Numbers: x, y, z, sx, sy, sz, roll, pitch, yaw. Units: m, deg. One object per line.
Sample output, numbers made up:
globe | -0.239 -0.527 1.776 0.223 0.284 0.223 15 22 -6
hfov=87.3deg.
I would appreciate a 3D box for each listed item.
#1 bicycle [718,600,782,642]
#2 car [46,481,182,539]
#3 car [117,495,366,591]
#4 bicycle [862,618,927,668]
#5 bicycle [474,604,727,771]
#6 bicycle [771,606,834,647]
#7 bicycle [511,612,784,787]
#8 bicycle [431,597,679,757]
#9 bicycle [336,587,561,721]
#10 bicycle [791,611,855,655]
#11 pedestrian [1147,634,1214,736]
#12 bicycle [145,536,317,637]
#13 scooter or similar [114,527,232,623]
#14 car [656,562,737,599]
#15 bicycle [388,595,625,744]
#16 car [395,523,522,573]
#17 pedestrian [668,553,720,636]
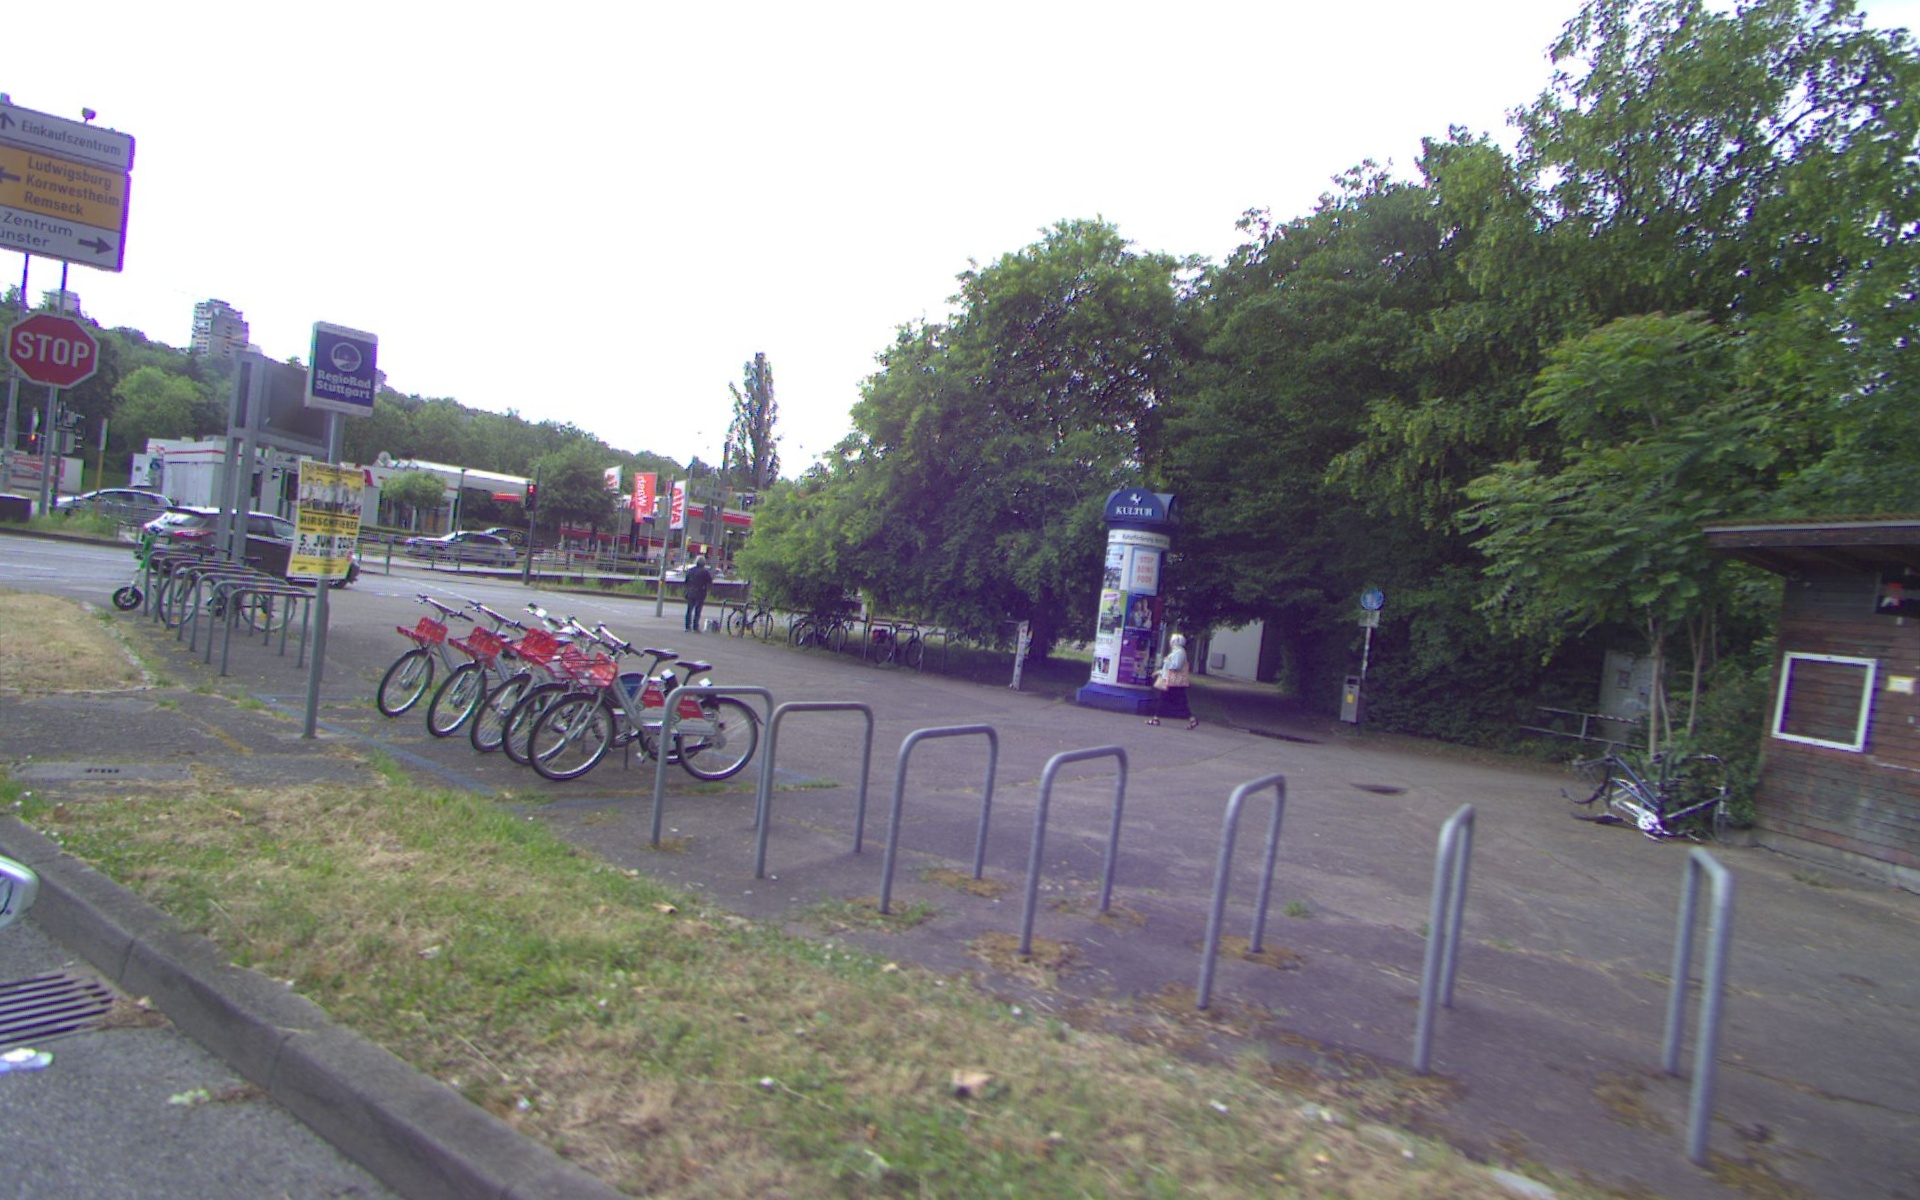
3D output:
bicycle | -5.197 0.524 25.021 0.354 0.909 1.717 8 0 33
car | -31.856 -3.373 37.948 3.757 1.526 1.683 8 0 -43
car | -15.489 -1.159 21.995 1.700 1.549 4.149 8 0 17
bicycle | -1.438 0.967 22.288 0.369 1.003 1.717 8 0 33
bicycle | -2.713 0.681 7.786 0.448 1.124 1.777 7 0 38
bicycle | -3.770 0.655 24.227 0.369 0.910 1.716 8 2 33
bicycle | -2.213 0.737 7.285 1.769 1.124 0.421 7 0 -38
bicycle | -3.245 0.633 8.240 0.570 1.124 1.780 7 0 33
bicycle | -4.810 0.544 9.588 0.544 1.124 1.780 7 -1 33
bicycle | -3.221 0.800 23.755 0.369 0.909 1.717 8 0 33
pedestrian | 3.634 1.393 16.582 0.766 1.550 0.510 7 1 36
bicycle | -9.565 -0.145 13.268 0.471 1.125 1.690 10 1 33
scooter or similar | -10.924 -0.330 13.989 0.290 1.184 1.180 8 1 41
car | -15.009 -1.076 57.389 4.017 1.549 1.698 8 0 -44
bicycle | -3.861 0.615 8.720 0.532 1.124 1.780 5 -1 33
car | -23.699 -2.439 47.643 1.989 1.620 4.912 8 0 44
pedestrian | -6.275 -0.119 23.777 0.762 1.842 0.689 7 1 11
